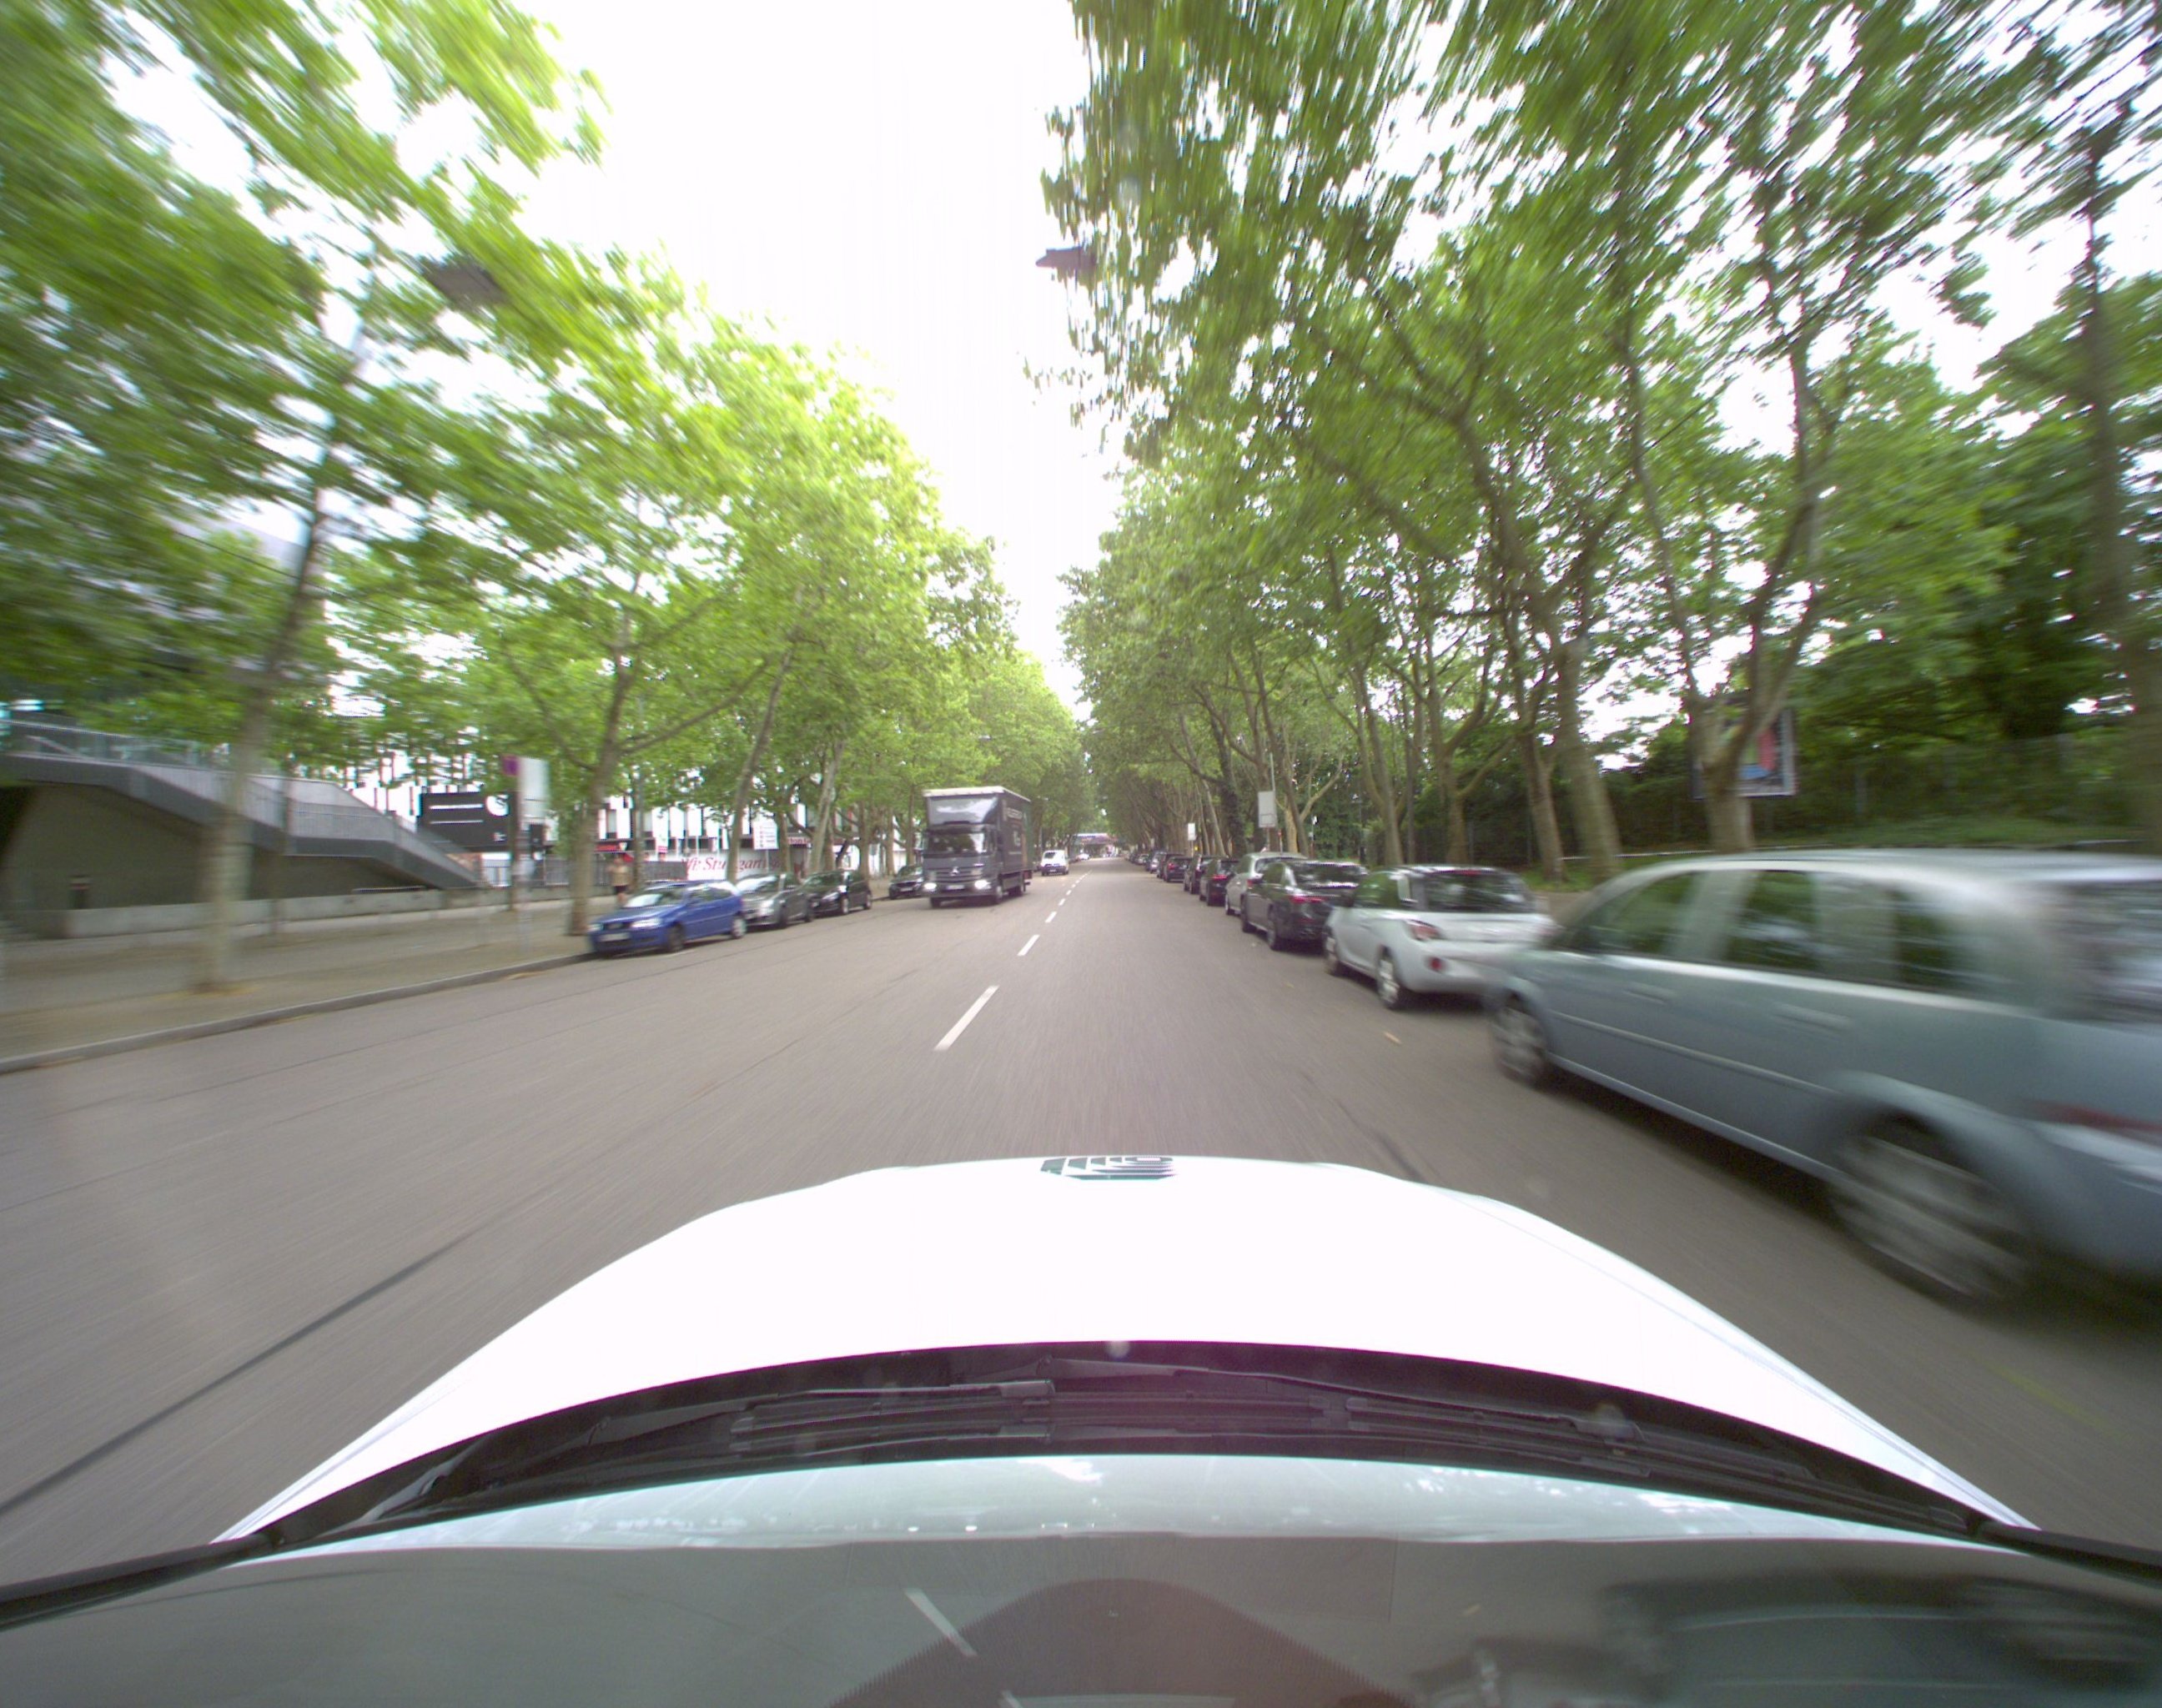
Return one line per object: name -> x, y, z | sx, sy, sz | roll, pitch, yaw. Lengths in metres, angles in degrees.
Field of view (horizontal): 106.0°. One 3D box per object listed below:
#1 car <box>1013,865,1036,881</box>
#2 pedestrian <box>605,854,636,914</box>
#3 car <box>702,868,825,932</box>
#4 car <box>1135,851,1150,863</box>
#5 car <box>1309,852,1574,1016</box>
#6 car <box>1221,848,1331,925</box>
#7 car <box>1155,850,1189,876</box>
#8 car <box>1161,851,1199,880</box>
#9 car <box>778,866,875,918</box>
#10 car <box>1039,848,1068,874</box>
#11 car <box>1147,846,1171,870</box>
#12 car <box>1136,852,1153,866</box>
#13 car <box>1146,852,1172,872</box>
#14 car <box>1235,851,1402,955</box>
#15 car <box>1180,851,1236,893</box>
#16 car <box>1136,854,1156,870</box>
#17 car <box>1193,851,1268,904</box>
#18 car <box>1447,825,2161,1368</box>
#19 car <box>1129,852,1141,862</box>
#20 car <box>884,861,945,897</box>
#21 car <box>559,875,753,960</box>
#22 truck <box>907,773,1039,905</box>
car -> -5.572, 1.856, 80.832 | 1.888, 1.438, 3.999 | -3, -2, 0
pedestrian -> -14.543, 0.920, 25.694 | 0.775, 1.835, 0.870 | -1, 0, -33
car -> -8.330, 1.170, 21.744 | 1.761, 1.418, 3.759 | -5, -1, -1
car -> 7.991, 0.385, 105.909 | 1.749, 1.534, 3.931 | -3, 0, 2
car -> 3.931, 0.759, 9.575 | 1.668, 1.490, 3.690 | 2, 0, 4
car -> 4.453, 0.683, 19.148 | 1.749, 1.597, 3.931 | 1, 0, 2
car -> 5.636, 0.515, 50.677 | 1.749, 1.534, 3.931 | -2, 0, 2
car -> 5.380, 0.607, 44.680 | 1.749, 1.534, 3.931 | 1, 0, 2
car -> -8.154, 1.181, 26.441 | 1.759, 1.418, 3.762 | -5, -1, 2
car -> -2.139, 0.513, 63.912 | 1.973, 1.933, 4.115 | -1, 0, 2
car -> 6.815, 0.341, 71.581 | 1.749, 1.815, 3.931 | -6, 1, 2
car -> 7.834, 0.594, 100.644 | 1.749, 1.534, 3.931 | -3, 0, 2
car -> 6.152, 0.617, 64.573 | 1.749, 1.534, 3.931 | 1, 0, 2
car -> 3.955, 0.734, 14.343 | 1.749, 1.490, 4.418 | 2, 0, 2
car -> 5.007, 0.678, 32.539 | 1.749, 1.534, 3.931 | 1, 0, 2
car -> 6.488, 0.792, 81.564 | 1.749, 1.534, 3.931 | 1, 0, 2
car -> 4.634, 0.685, 25.748 | 1.749, 1.534, 3.931 | 1, 0, 2
car -> 3.781, 0.731, 4.424 | 1.713, 1.567, 4.093 | 2, 0, 0
car -> 8.424, 0.451, 127.680 | 1.749, 1.534, 3.931 | 1, 0, 2
car -> -7.449, 1.101, 36.703 | 1.759, 1.418, 3.762 | -5, -1, 2
car -> -8.668, 1.231, 17.007 | 1.686, 1.418, 3.768 | -5, -1, 6
truck -> -3.559, -0.444, 29.700 | 2.629, 3.901, 9.552 | -3, 0, 4
